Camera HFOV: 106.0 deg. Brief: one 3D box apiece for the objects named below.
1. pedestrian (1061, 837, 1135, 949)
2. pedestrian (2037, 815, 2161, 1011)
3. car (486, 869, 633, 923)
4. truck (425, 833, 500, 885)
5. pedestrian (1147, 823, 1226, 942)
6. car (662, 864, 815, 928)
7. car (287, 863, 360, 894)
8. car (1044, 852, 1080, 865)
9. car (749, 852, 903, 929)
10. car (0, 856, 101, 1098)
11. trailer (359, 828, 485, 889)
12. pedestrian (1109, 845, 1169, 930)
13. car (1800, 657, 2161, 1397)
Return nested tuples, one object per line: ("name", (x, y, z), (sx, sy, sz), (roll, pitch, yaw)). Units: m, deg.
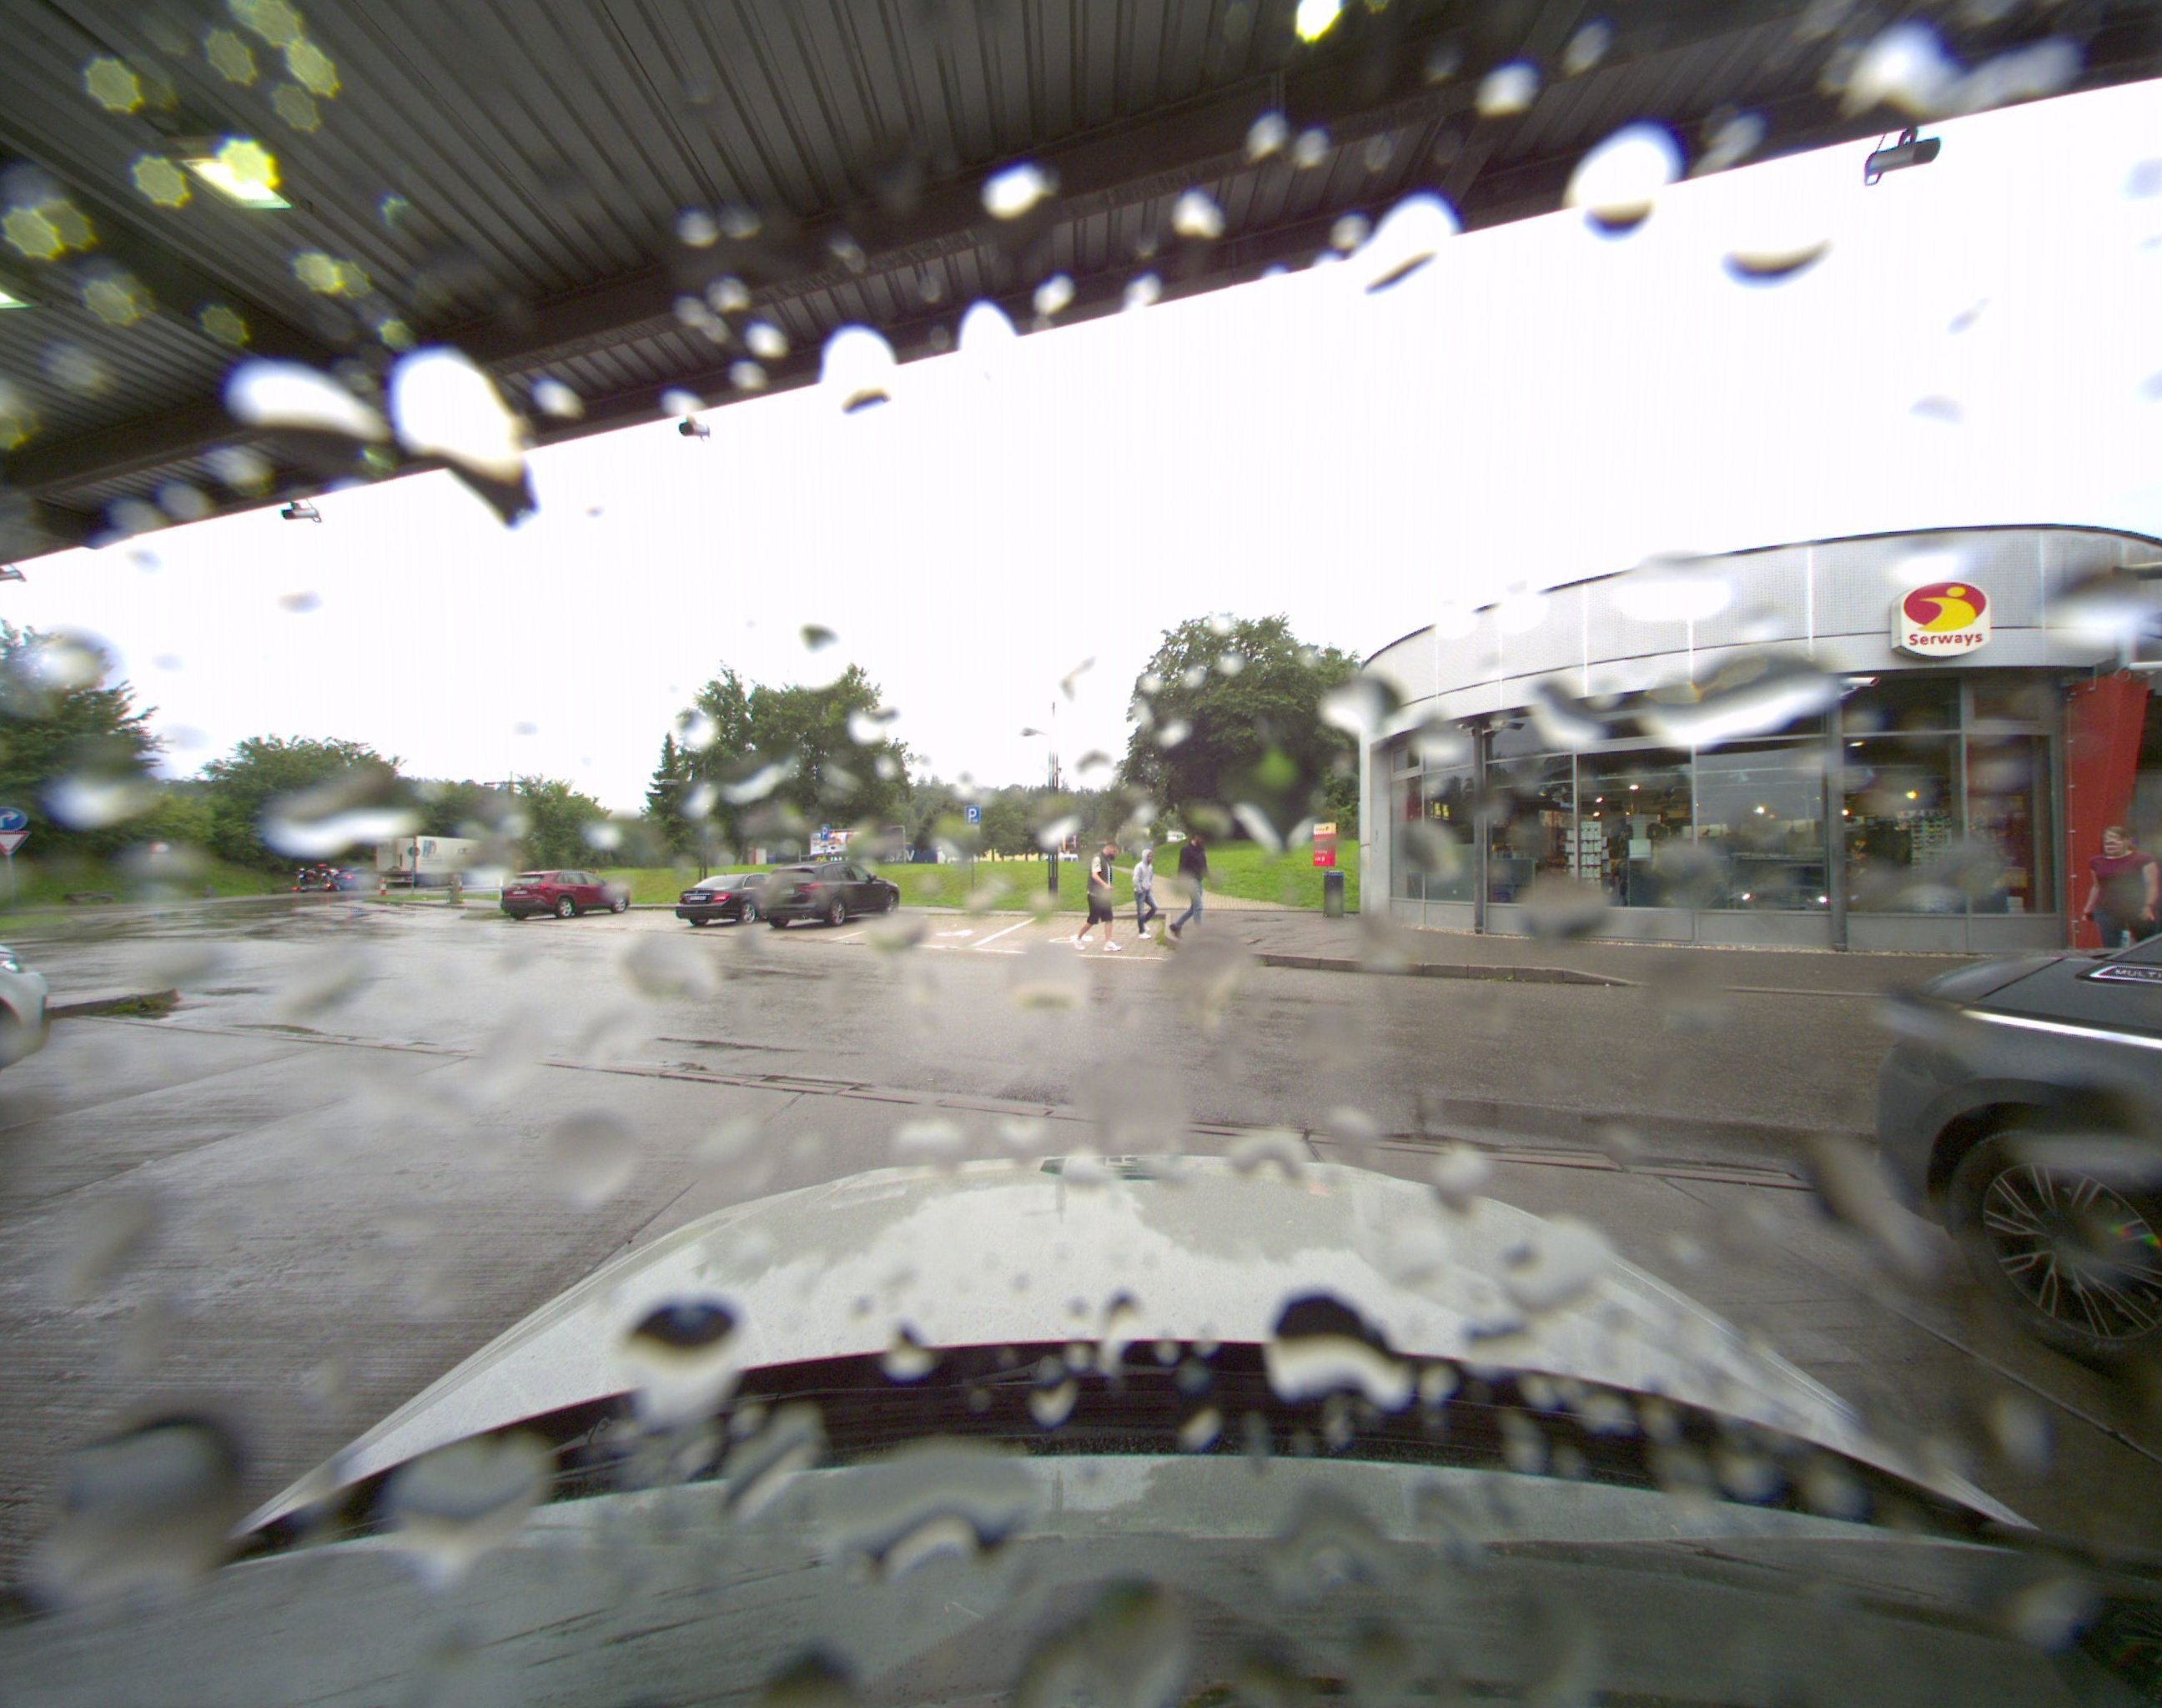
("pedestrian", (0.295, 0.641, 13.963), (0.963, 1.848, 0.778), (-2, 0, 30))
("pedestrian", (9.691, 0.521, 7.599), (0.786, 1.734, 0.845), (-2, -1, 37))
("car", (-18.078, 1.407, 28.510), (1.873, 1.596, 4.364), (-2, 0, 8))
("truck", (-57.105, 0.485, 75.421), (3.467, 4.557, 6.694), (0, -1, -18))
("pedestrian", (1.730, 0.451, 13.289), (0.989, 1.864, 0.804), (-2, 0, 30))
("car", (-9.616, 1.132, 23.296), (1.871, 1.565, 4.200), (-2, 0, 13))
("car", (-49.192, 1.552, 53.010), (1.934, 1.838, 4.361), (-1, 0, -20))
("car", (-3.175, 0.794, 134.075), (5.376, 2.013, 2.468), (-1, 0, 21))
("car", (-6.615, 0.883, 21.738), (1.871, 1.828, 4.429), (-2, 0, 13))
("car", (-7.832, 0.801, 3.288), (1.810, 1.565, 4.999), (0, 0, -2))
("trailer", (-54.883, 0.412, 68.480), (3.466, 4.557, 13.827), (0, -1, -18))
("pedestrian", (1.107, 0.621, 15.426), (0.880, 1.550, 0.665), (-2, 0, 31))
("car", (3.716, 0.449, 1.227), (1.809, 1.948, 4.002), (-1, 0, 2))
